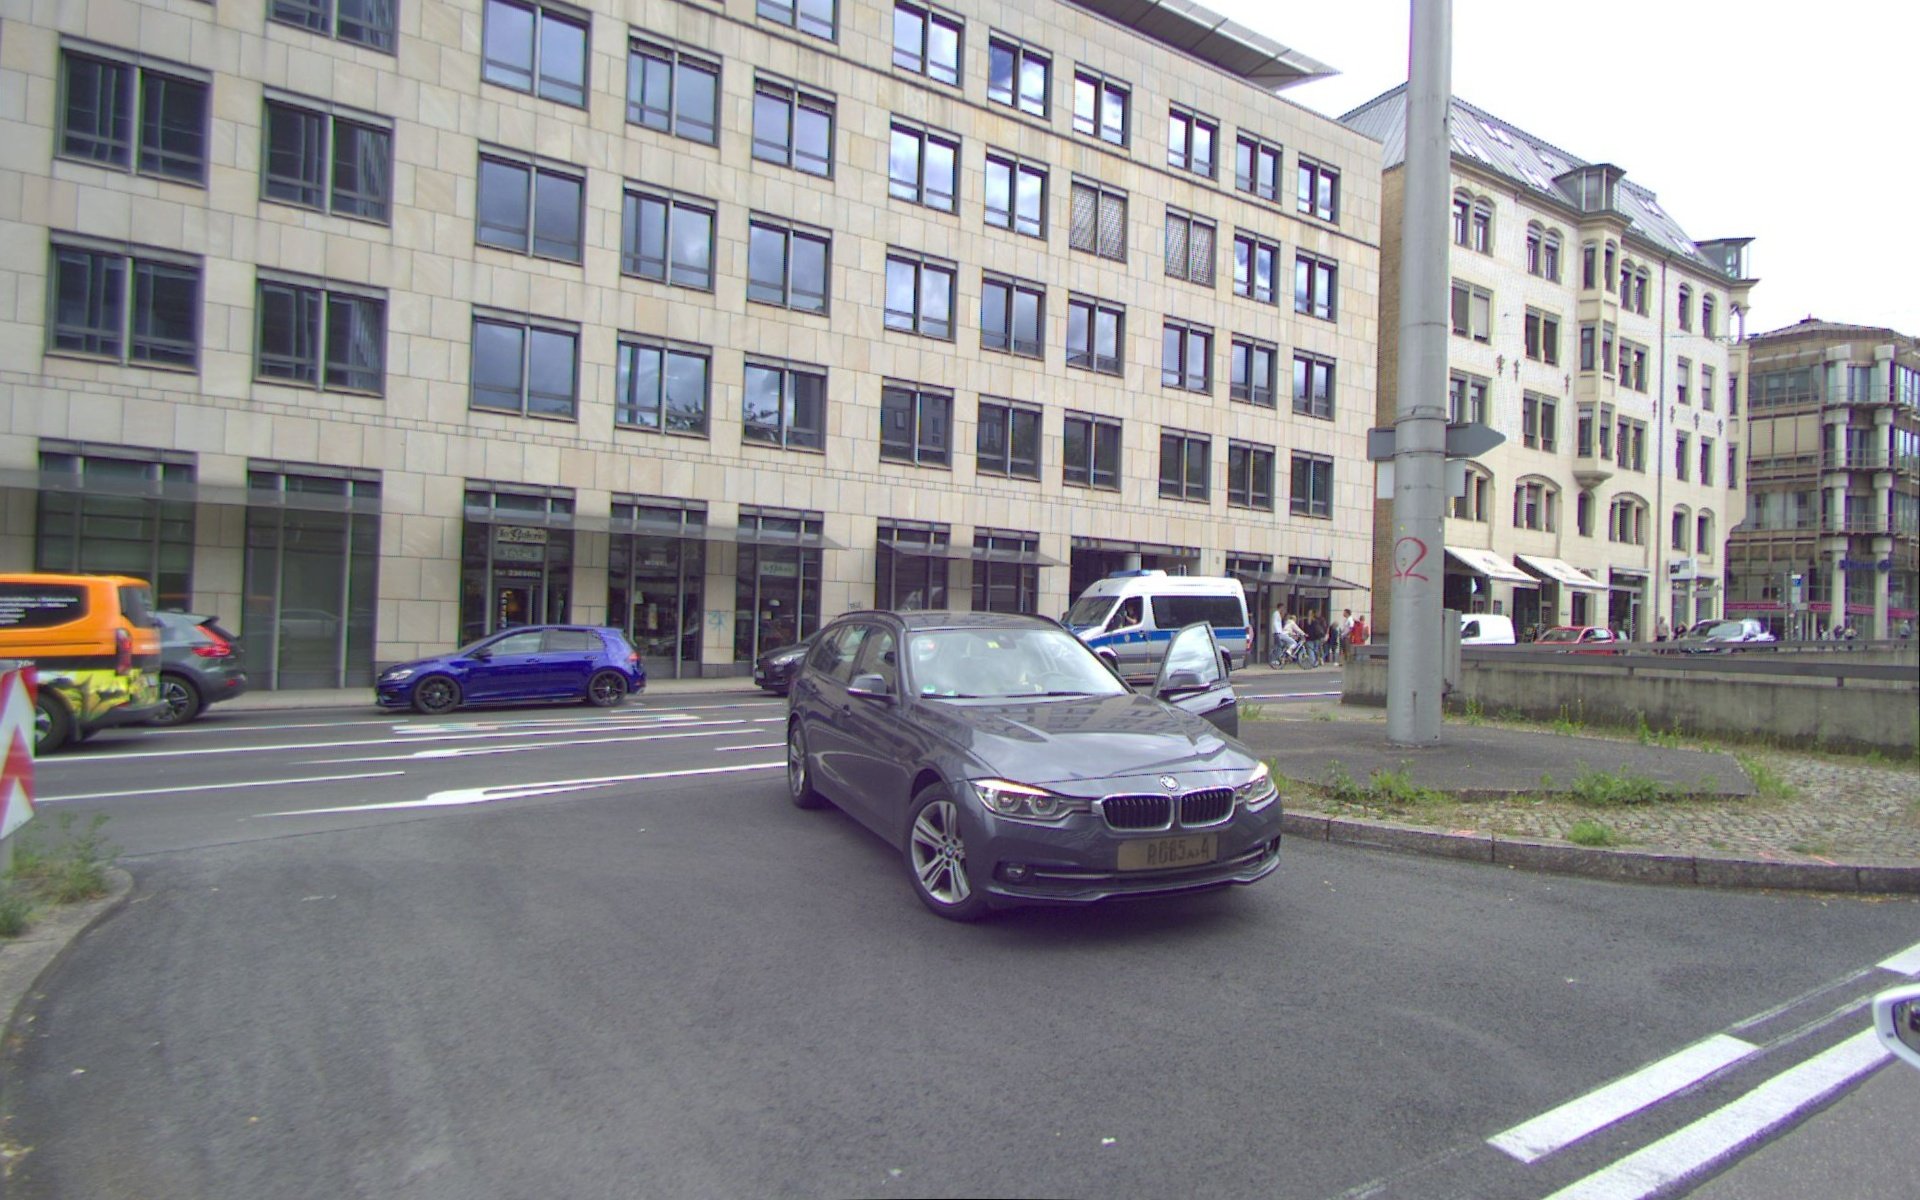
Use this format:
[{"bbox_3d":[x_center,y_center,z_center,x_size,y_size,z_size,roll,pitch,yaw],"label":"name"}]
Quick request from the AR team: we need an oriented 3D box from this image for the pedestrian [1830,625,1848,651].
[{"bbox_3d":[53.511,2.287,61.125,0.839,1.564,0.694,1,-1,-38],"label":"pedestrian"}]

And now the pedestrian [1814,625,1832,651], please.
[{"bbox_3d":[53.052,2.304,61.725,0.839,1.564,0.694,1,-1,-38],"label":"pedestrian"}]

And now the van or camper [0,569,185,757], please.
[{"bbox_3d":[-11.512,0.667,10.608,5.025,1.947,1.903,1,-3,-31],"label":"van or camper"}]

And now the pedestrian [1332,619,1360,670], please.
[{"bbox_3d":[12.352,1.422,32.117,0.673,1.597,0.549,1,-1,-32],"label":"pedestrian"}]

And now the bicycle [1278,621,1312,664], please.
[{"bbox_3d":[10.260,1.286,30.758,0.836,1.277,0.628,1,-1,-34],"label":"bicycle"}]

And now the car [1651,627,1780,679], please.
[{"bbox_3d":[24.291,1.642,32.260,4.493,1.547,1.907,1,-1,-33],"label":"car"}]

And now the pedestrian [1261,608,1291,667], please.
[{"bbox_3d":[10.312,1.211,32.779,0.672,1.899,0.613,1,-1,-32],"label":"pedestrian"}]

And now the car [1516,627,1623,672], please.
[{"bbox_3d":[20.968,1.660,34.521,3.544,1.424,1.777,1,-1,-33],"label":"car"}]

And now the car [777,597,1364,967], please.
[{"bbox_3d":[0.204,0.767,6.488,1.854,1.478,4.542,1,-1,-22],"label":"car"}]

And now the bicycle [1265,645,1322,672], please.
[{"bbox_3d":[10.206,1.782,30.708,1.938,0.772,0.628,1,-1,-35],"label":"bicycle"}]

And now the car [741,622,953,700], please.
[{"bbox_3d":[-2.284,1.219,20.635,3.984,1.467,1.760,1,-3,-31],"label":"car"}]

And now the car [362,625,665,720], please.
[{"bbox_3d":[-7.560,1.159,17.179,4.519,1.414,1.984,1,-1,-30],"label":"car"}]

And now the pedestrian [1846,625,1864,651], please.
[{"bbox_3d":[53.949,2.276,60.557,0.839,1.564,0.694,1,-1,-38],"label":"pedestrian"}]

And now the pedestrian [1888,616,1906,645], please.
[{"bbox_3d":[58.658,1.914,62.875,0.686,1.817,0.530,1,3,-30],"label":"pedestrian"}]

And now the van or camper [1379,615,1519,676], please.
[{"bbox_3d":[15.184,1.369,31.151,4.437,1.775,1.857,1,-1,-32],"label":"van or camper"}]

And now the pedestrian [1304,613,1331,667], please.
[{"bbox_3d":[11.884,1.323,33.379,0.672,1.777,0.549,1,-1,-32],"label":"pedestrian"}]

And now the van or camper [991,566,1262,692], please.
[{"bbox_3d":[4.159,0.699,24.838,6.174,2.762,2.987,1,-1,-31],"label":"van or camper"}]

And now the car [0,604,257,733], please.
[{"bbox_3d":[-12.699,0.920,13.950,4.630,1.667,1.984,1,-3,-31],"label":"car"}]
